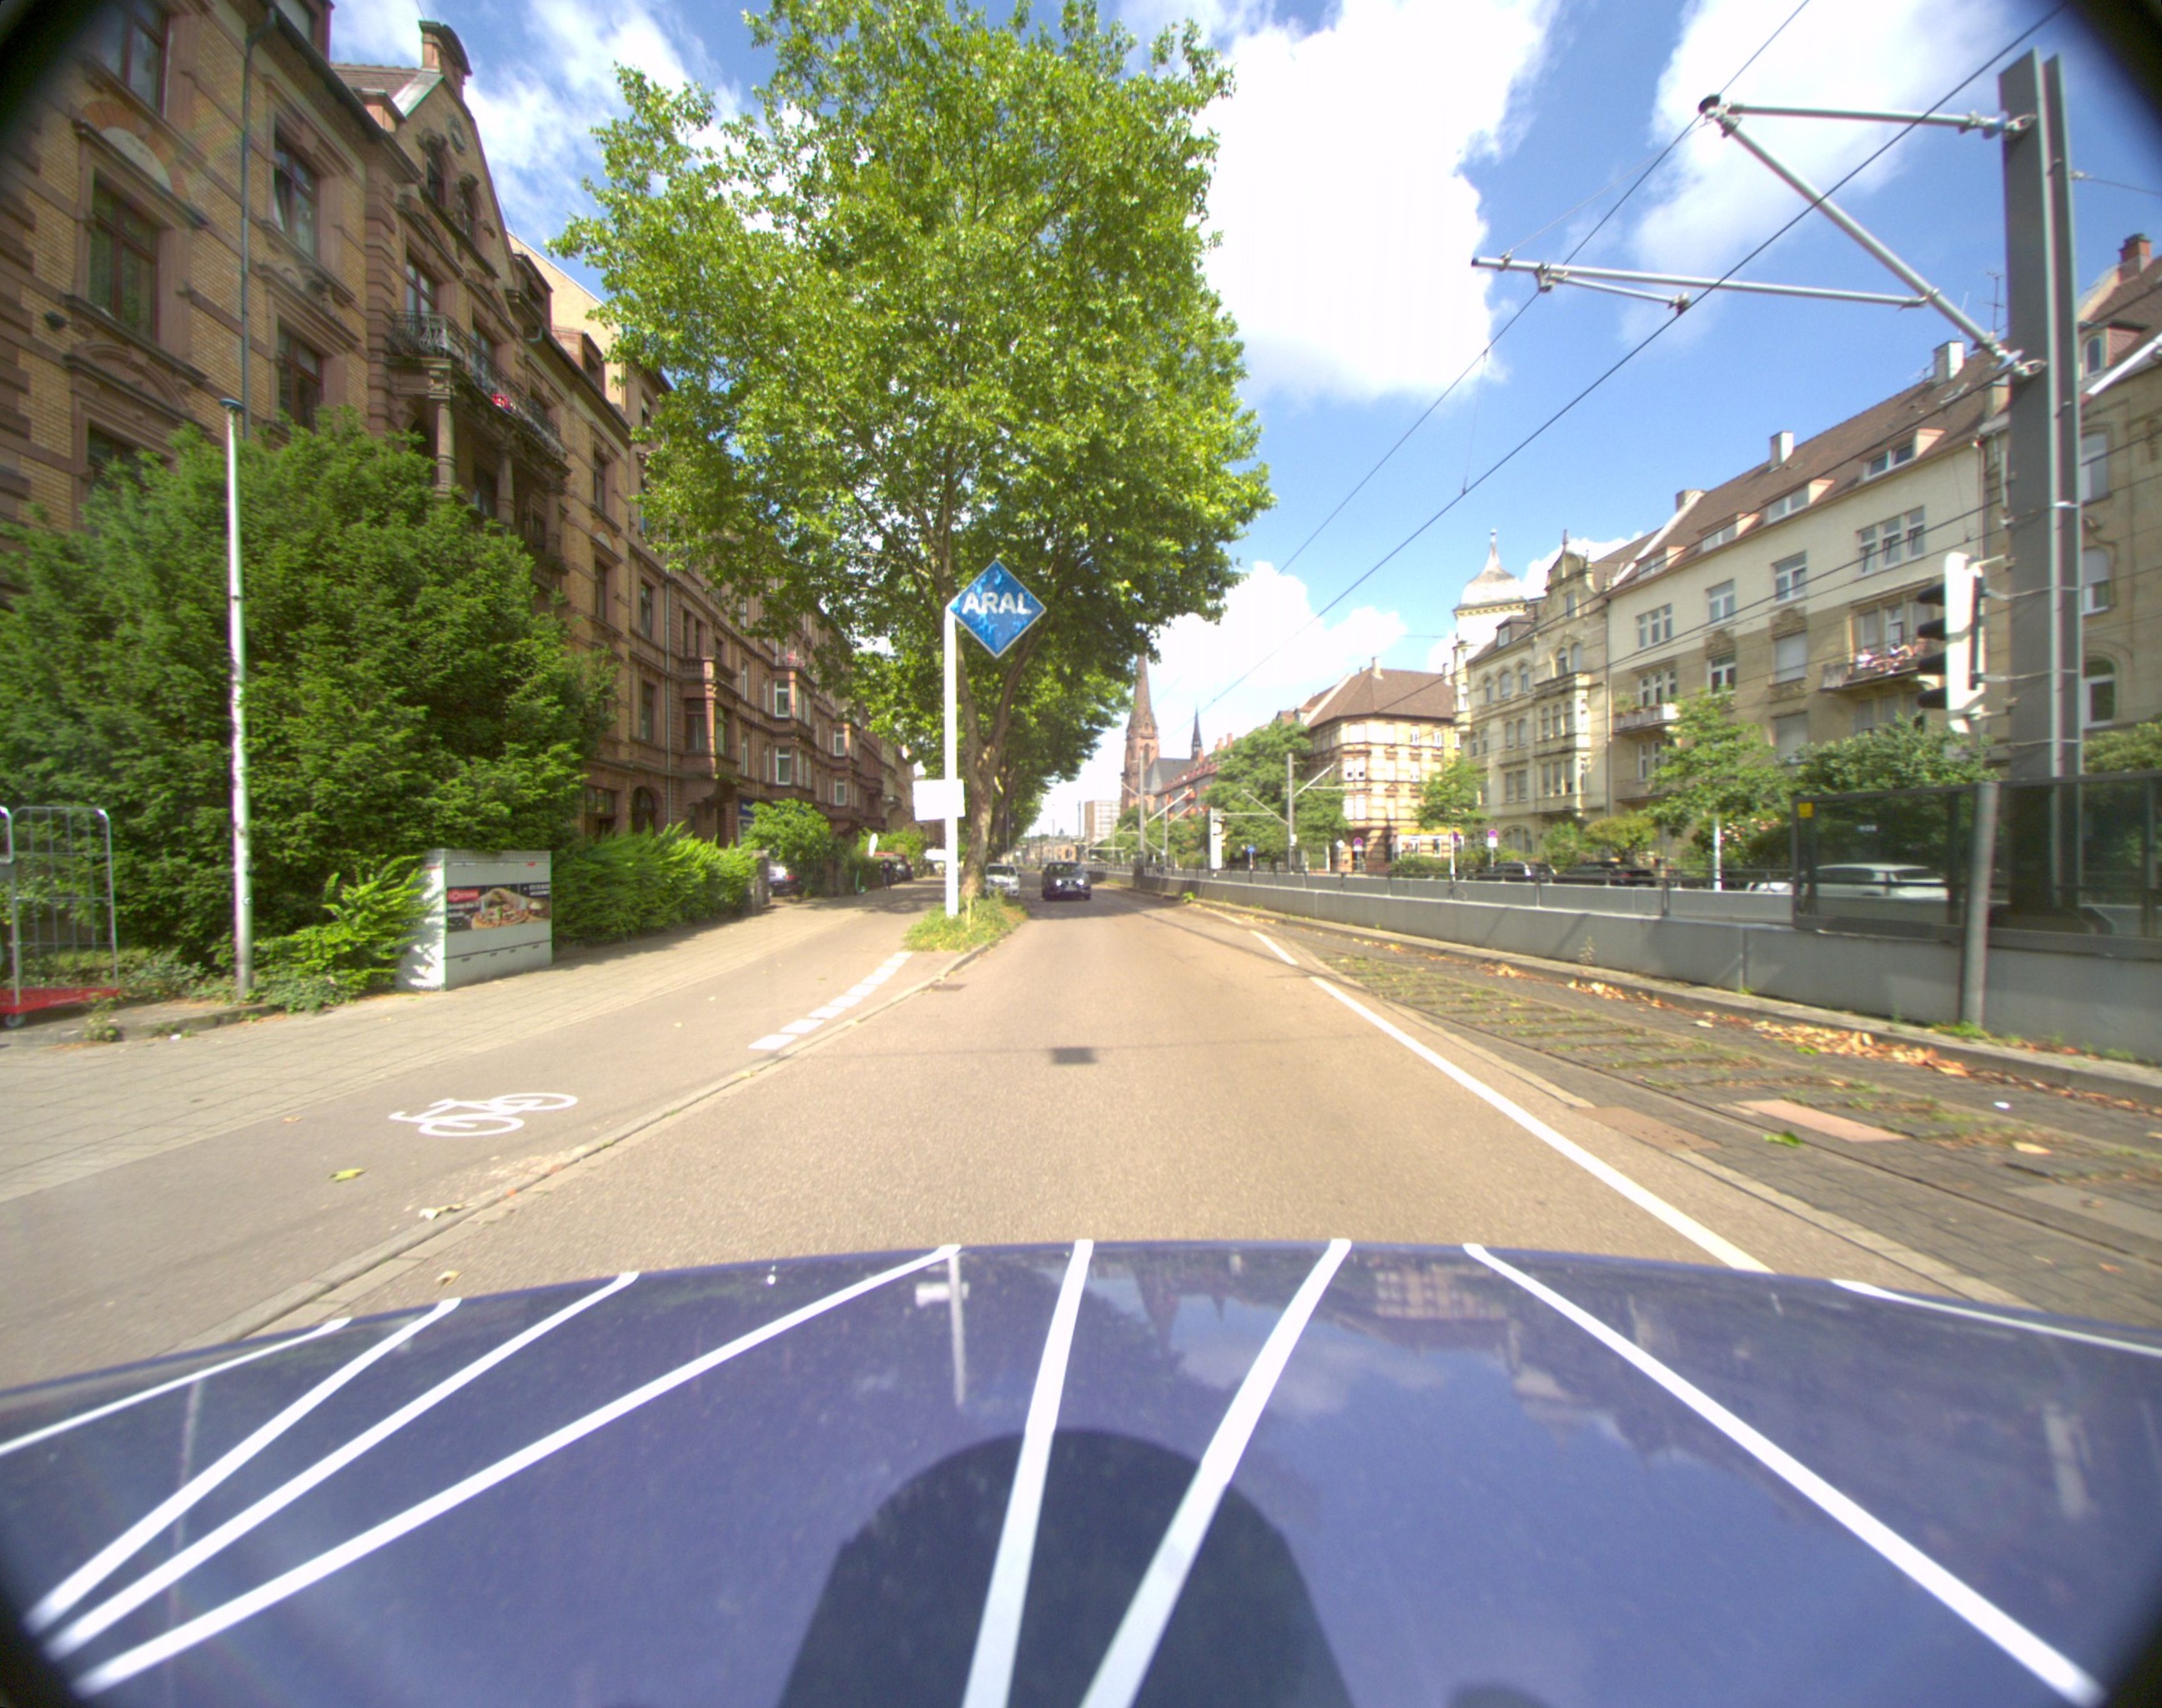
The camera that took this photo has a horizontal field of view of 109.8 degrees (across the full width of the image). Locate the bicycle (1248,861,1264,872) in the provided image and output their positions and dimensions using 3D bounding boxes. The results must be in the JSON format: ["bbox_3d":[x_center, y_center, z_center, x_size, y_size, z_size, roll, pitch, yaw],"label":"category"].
[{"bbox_3d":[15.967,1.174,69.328,0.778,0.973,2.140,1,-1,-5],"label":"bicycle"}]

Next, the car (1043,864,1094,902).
[{"bbox_3d":[-0.593,1.146,31.759,1.800,1.454,4.565,0,0,-5],"label":"car"}]

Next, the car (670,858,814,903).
[{"bbox_3d":[-11.856,0.898,26.823,4.247,1.460,1.941,1,0,-6],"label":"car"}]

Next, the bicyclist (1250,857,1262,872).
[{"bbox_3d":[15.942,0.985,69.330,0.770,1.330,1.048,1,0,-5],"label":"bicyclist"}]

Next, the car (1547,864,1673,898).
[{"bbox_3d":[21.626,1.060,31.279,2.026,1.319,4.098,0,-1,-8],"label":"car"}]

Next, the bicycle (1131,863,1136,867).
[{"bbox_3d":[8.911,1.862,129.825,0.497,0.763,1.816,0,0,-6],"label":"bicycle"}]

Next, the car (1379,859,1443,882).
[{"bbox_3d":[24.694,1.230,56.922,3.964,1.597,2.034,-1,0,-15],"label":"car"}]

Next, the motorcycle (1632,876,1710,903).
[{"bbox_3d":[21.908,1.307,28.251,1.766,0.936,1.417,1,-1,-7],"label":"motorcycle"}]

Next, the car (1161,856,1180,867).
[{"bbox_3d":[13.127,1.055,111.572,2.000,1.627,4.112,0,-1,-6],"label":"car"}]

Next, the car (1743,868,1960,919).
[{"bbox_3d":[22.473,1.100,22.448,1.757,1.320,4.310,0,0,-8],"label":"car"}]

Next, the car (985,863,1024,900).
[{"bbox_3d":[-3.286,1.137,32.468,1.558,1.476,3.856,1,-1,-6],"label":"car"}]

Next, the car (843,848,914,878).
[{"bbox_3d":[-14.357,0.626,54.086,4.407,1.927,1.984,2,-1,1],"label":"car"}]

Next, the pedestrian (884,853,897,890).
[{"bbox_3d":[-9.391,0.860,37.450,0.566,1.775,0.630,0,0,-6],"label":"pedestrian"}]

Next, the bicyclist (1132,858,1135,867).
[{"bbox_3d":[8.946,1.476,129.802,0.505,1.535,0.607,0,0,-6],"label":"bicyclist"}]

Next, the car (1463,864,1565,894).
[{"bbox_3d":[20.800,1.164,36.790,1.954,1.319,4.723,0,-1,-5],"label":"car"}]

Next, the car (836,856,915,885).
[{"bbox_3d":[-13.049,1.050,48.396,4.738,1.771,2.003,1,0,-14],"label":"car"}]
